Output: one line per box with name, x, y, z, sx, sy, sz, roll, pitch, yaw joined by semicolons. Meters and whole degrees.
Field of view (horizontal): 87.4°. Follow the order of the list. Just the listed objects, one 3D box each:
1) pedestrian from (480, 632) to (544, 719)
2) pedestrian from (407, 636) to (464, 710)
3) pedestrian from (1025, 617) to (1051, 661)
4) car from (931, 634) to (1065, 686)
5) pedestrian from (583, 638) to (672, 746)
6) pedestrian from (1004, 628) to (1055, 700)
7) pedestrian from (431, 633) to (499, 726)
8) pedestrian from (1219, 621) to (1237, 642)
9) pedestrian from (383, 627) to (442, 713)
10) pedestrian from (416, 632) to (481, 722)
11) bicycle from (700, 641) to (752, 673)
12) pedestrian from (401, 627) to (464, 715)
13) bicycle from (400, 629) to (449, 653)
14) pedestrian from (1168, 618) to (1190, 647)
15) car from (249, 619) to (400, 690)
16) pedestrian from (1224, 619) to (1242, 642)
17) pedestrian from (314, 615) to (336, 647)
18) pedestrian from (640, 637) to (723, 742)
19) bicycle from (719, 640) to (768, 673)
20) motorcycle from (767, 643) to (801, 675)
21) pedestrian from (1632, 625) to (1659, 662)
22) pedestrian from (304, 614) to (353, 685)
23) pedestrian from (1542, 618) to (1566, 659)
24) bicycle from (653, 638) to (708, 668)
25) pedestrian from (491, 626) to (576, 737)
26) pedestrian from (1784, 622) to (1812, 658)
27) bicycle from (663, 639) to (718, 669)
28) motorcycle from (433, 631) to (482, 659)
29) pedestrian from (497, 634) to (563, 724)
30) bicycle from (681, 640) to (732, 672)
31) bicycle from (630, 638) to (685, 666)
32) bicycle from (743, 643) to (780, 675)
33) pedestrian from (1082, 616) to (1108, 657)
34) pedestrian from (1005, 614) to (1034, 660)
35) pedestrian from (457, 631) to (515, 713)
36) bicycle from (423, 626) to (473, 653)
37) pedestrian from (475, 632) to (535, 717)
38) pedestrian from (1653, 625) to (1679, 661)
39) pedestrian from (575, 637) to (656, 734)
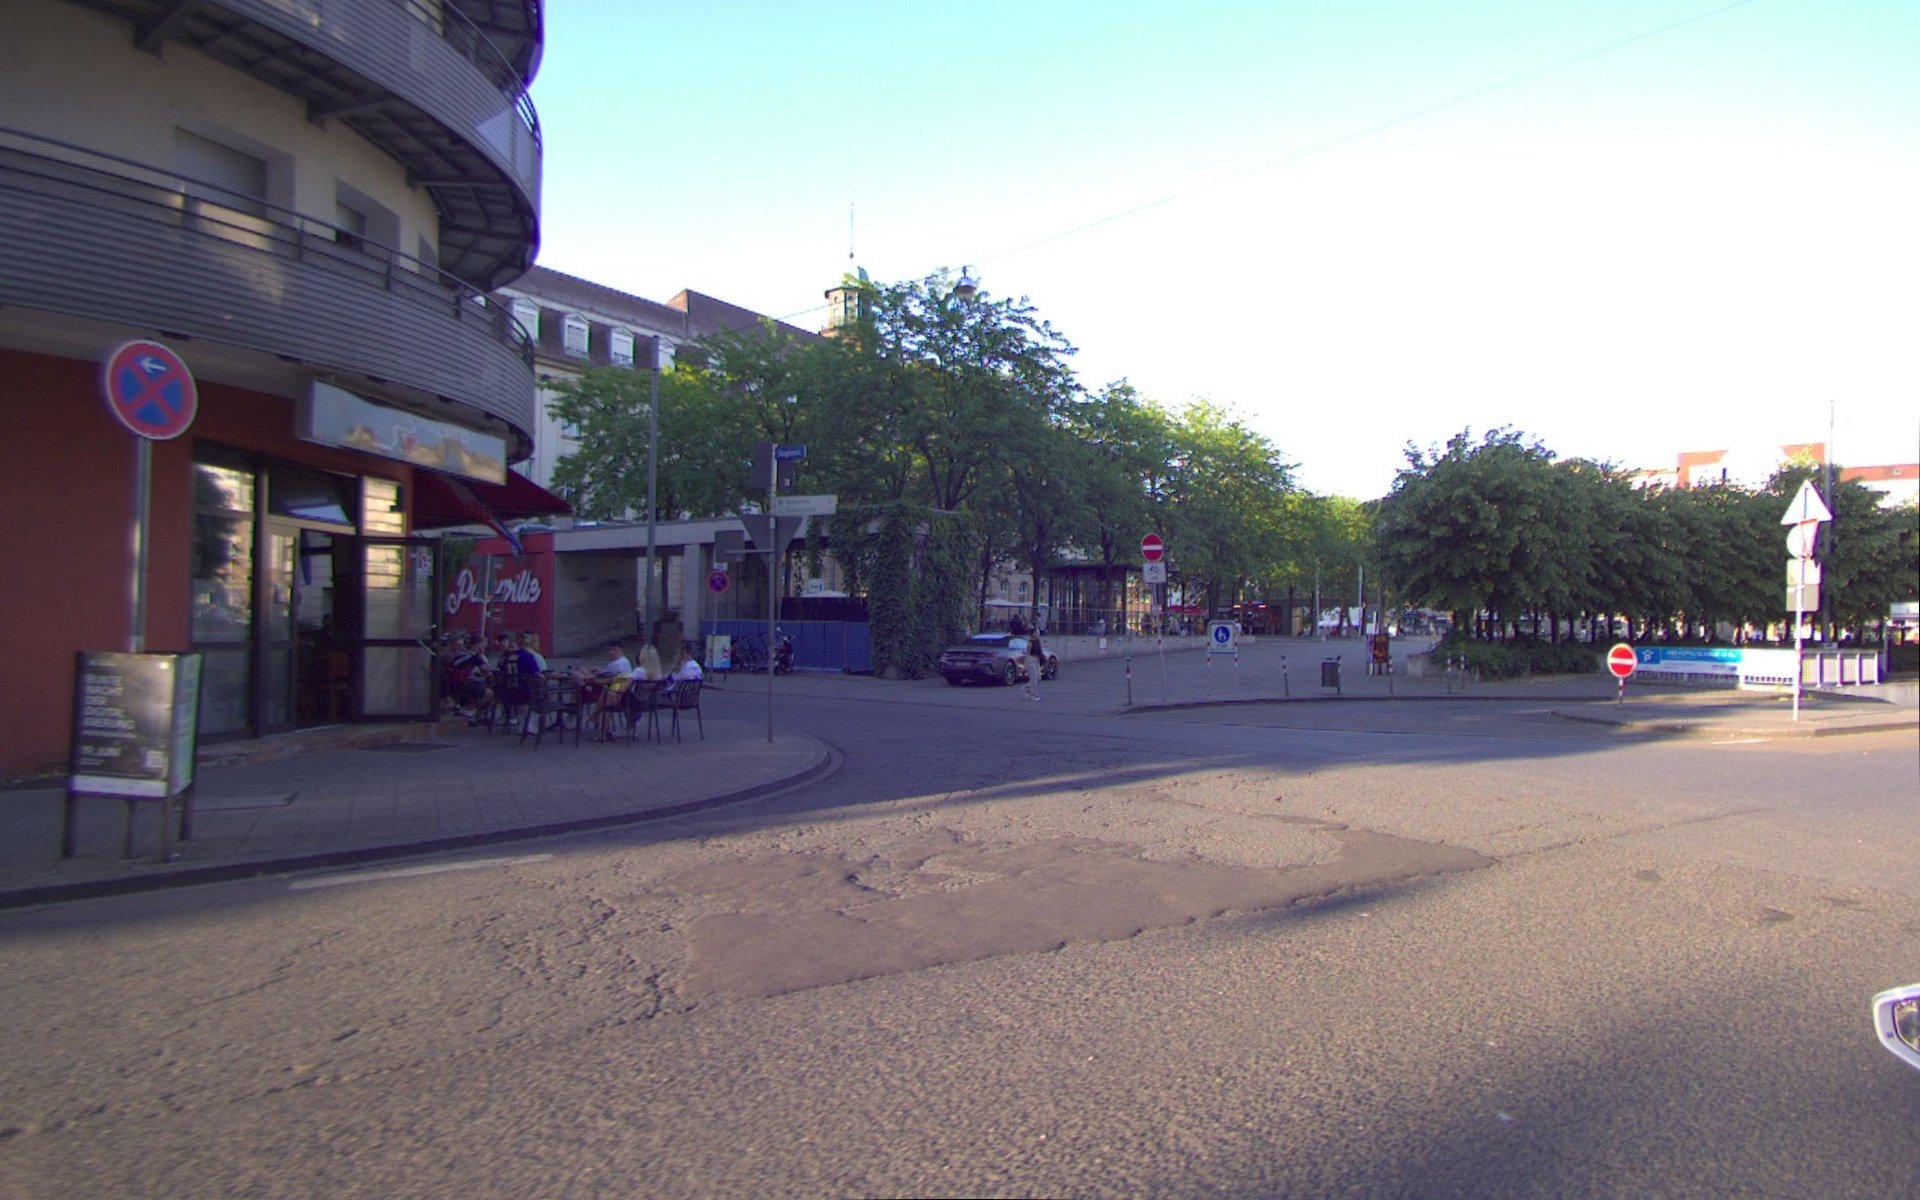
pedestrian;-6.794;1.133;15.233;0.696;1.263;0.615;4;-3;-39
pedestrian;-9.062;1.257;17.356;0.697;1.241;0.614;4;-3;-43
pedestrian;2.858;1.427;36.826;0.612;1.607;0.699;0;-3;37
car;1.178;1.635;28.510;1.964;1.335;4.521;-1;-2;29
pedestrian;-4.142;1.121;12.497;0.761;1.258;0.890;3;-3;-38
pedestrian;1.565;1.430;22.733;0.885;1.587;0.765;0;-1;35
pedestrian;-6.964;1.104;14.121;0.696;1.263;0.615;4;-3;-39
pedestrian;13.726;1.600;51.451;0.703;1.073;0.609;0;-1;35
pedestrian;-8.881;1.133;16.288;0.696;1.350;0.615;3;-3;-39
pedestrian;-7.459;1.109;14.651;0.696;1.263;0.615;4;-3;-39
bicycle;-7.371;1.773;31.675;0.501;0.935;1.801;0;0;29
pedestrian;-8.112;1.081;15.440;0.696;1.304;0.649;3;-3;-39
bicycle;-23.208;1.763;43.570;0.504;1.021;1.794;0;0;44
pedestrian;10.231;1.514;46.960;0.778;1.296;0.652;0;-3;35
car;-16.027;1.316;25.290;3.937;1.617;1.963;0;-2;38
pedestrian;14.166;1.582;52.081;0.703;1.134;0.609;0;-1;35
pedestrian;-32.780;1.611;51.866;0.834;1.619;0.727;1;-1;-41
pedestrian;-3.604;1.142;12.996;0.742;1.290;0.820;3;-3;-38
bicycle;-6.759;1.759;31.444;0.501;0.935;1.802;0;0;26
motorcycle;-5.309;1.771;30.404;0.500;0.892;1.805;0;0;7
pedestrian;30.367;1.933;44.491;0.558;1.616;0.791;1;0;-10
pedestrian;-13.588;1.057;21.612;0.690;1.488;0.620;0;-3;34
pedestrian;24.030;1.552;40.663;0.693;1.616;0.673;1;0;42
bicycle;-9.195;1.726;33.110;0.503;0.935;1.796;0;0;39
pedestrian;-5.500;1.028;12.948;0.821;1.365;0.741;3;-3;-36
pedestrian;37.673;1.797;45.143;0.665;1.616;0.678;1;0;-10
bicycle;-8.779;1.749;32.769;0.503;0.935;1.796;0;0;39
motorcycle;-21.060;1.871;42.119;0.503;1.093;1.796;0;0;39
pedestrian;-6.300;1.151;14.722;0.696;1.263;0.615;4;-3;-39
bicycle;-8.099;1.770;32.175;0.501;0.935;1.801;0;0;29
bicycle;-10.248;1.750;34.067;1.775;0.935;0.509;1;0;-17
bicycle;-6.098;1.796;30.944;0.500;0.892;1.806;0;0;10
pedestrian;5.417;1.448;40.237;0.778;1.607;0.652;0;-3;35
pedestrian;2.135;1.307;35.750;0.679;1.607;0.767;0;-3;37
pedestrian;-7.821;1.177;16.564;0.696;1.304;0.615;4;-3;-39
bicycle;-21.678;1.654;42.555;0.503;1.093;1.794;0;0;42
pedestrian;-7.266;1.178;16.056;0.696;1.304;0.615;4;-3;-39
pedestrian;32.649;1.991;46.450;0.558;1.616;0.791;1;0;-10
pedestrian;-4.686;1.149;13.653;0.821;1.263;0.716;3;-3;-36
